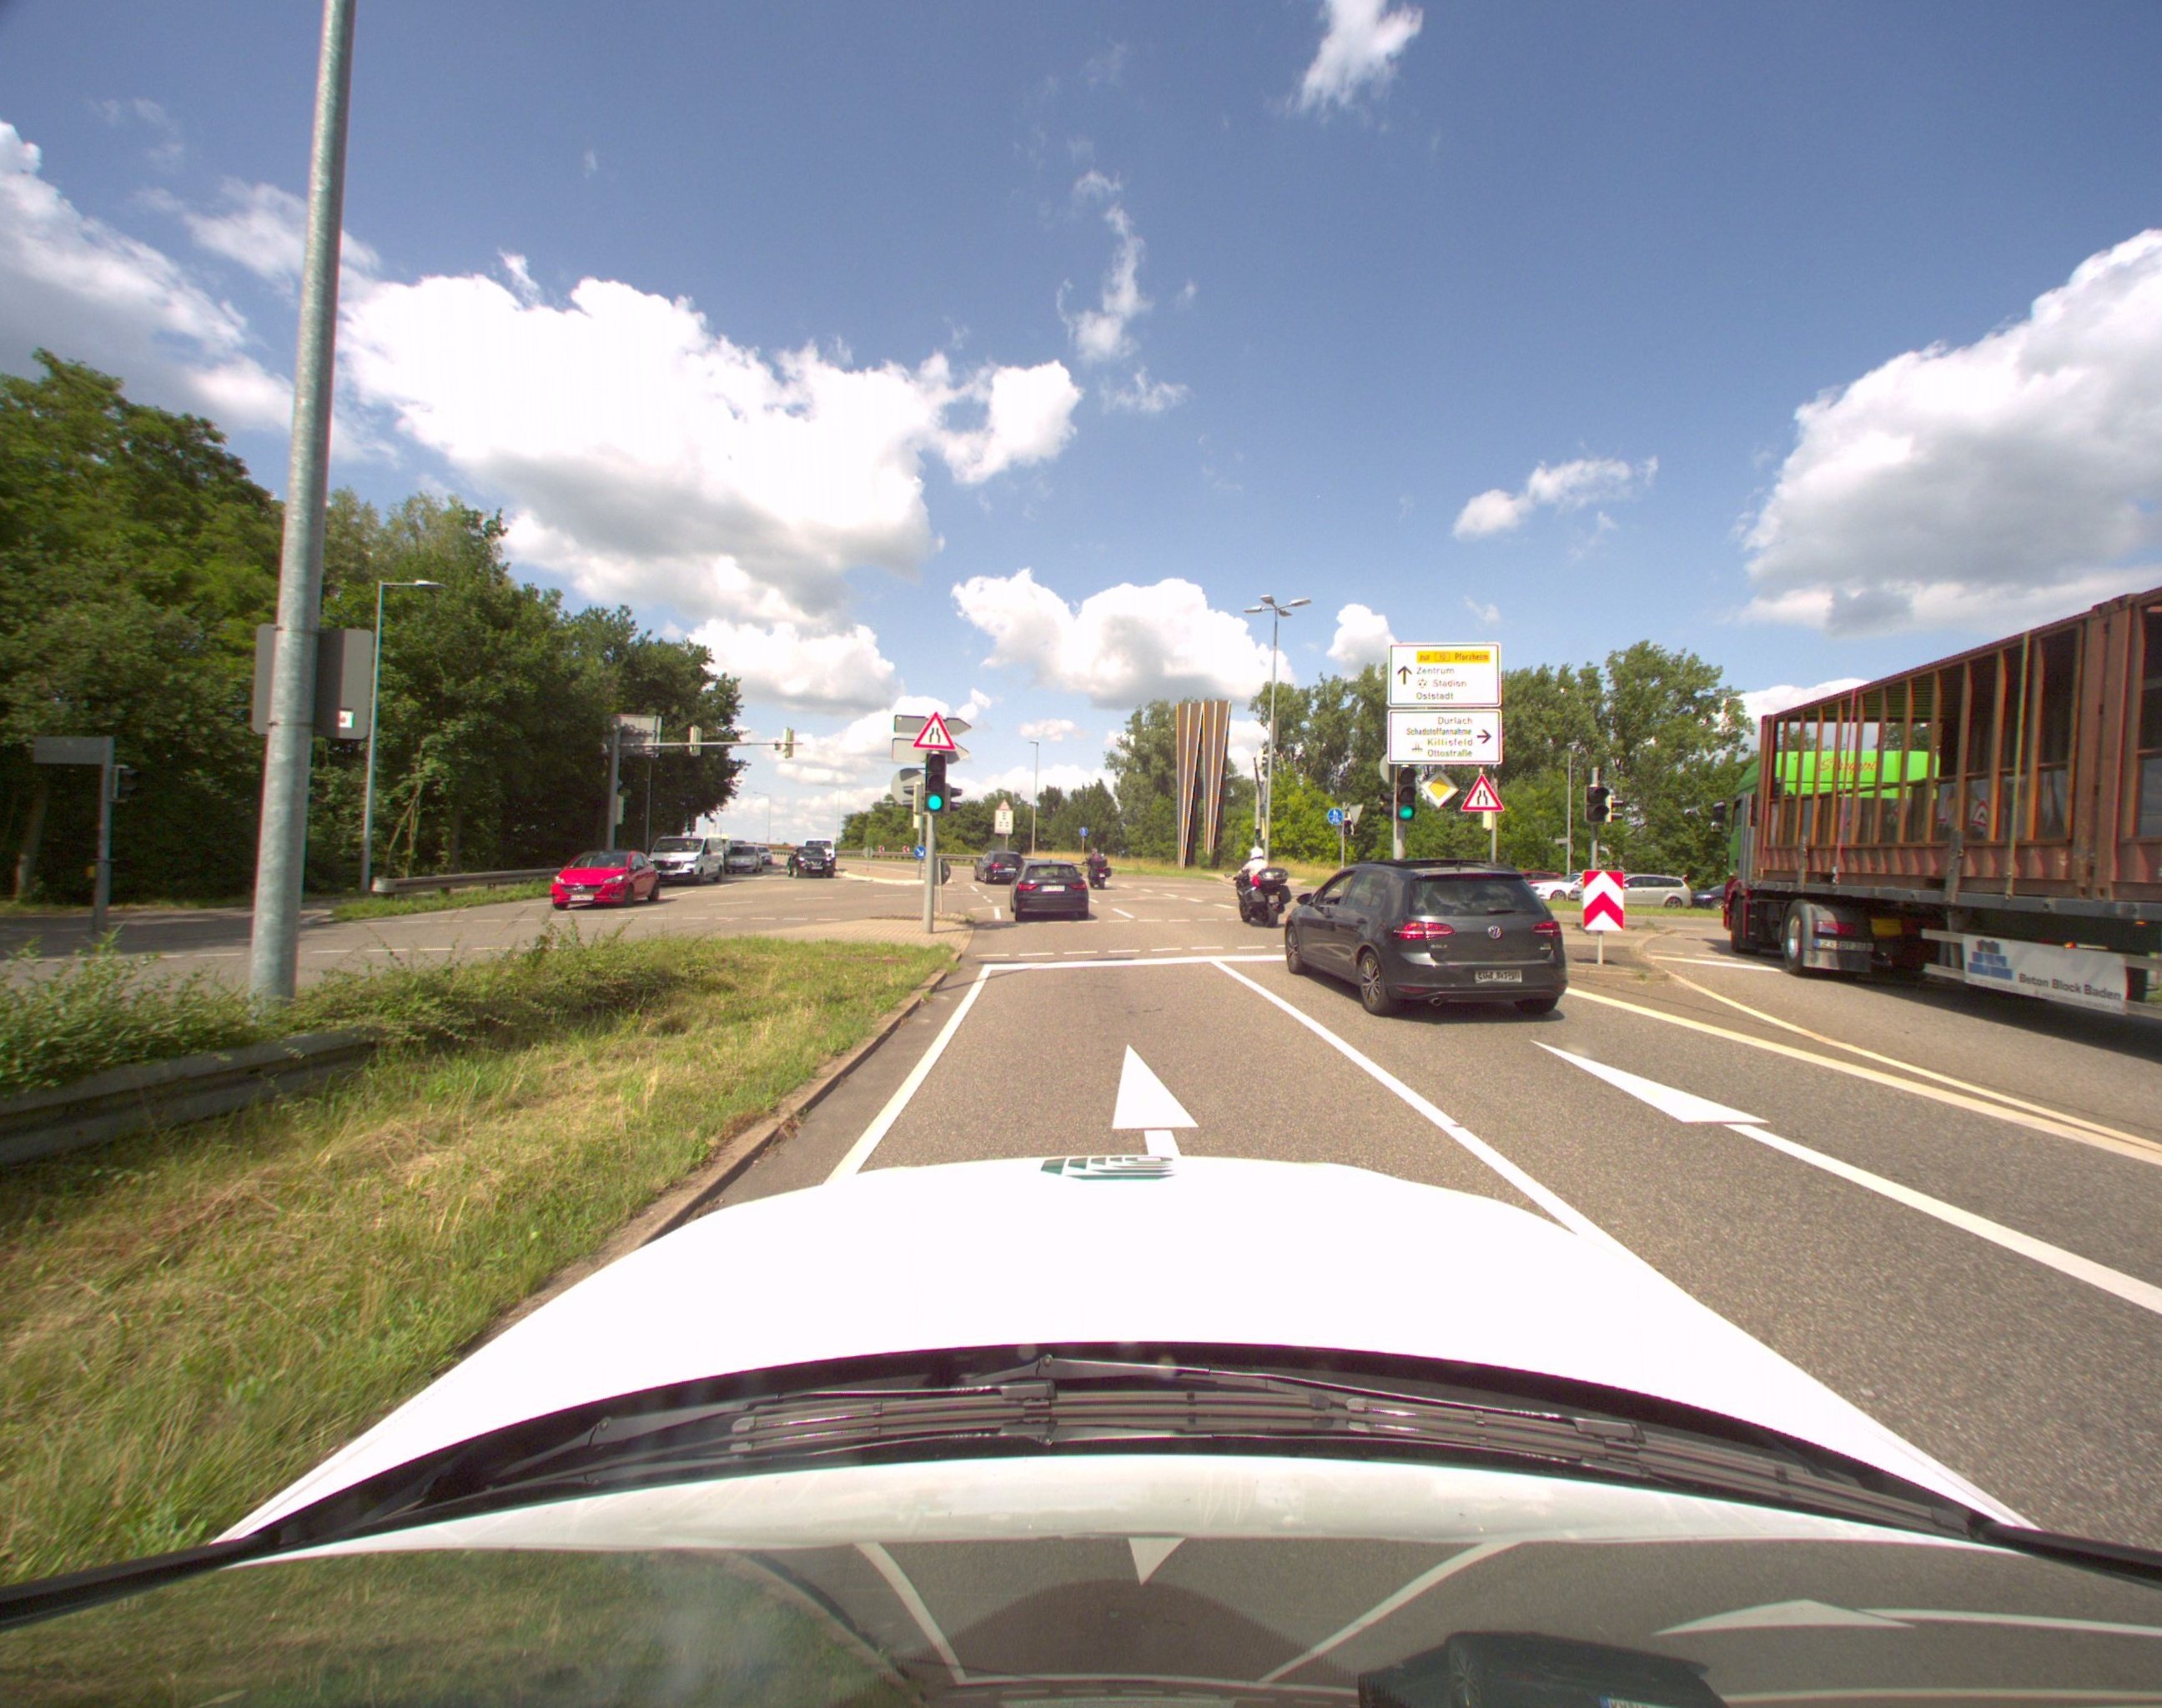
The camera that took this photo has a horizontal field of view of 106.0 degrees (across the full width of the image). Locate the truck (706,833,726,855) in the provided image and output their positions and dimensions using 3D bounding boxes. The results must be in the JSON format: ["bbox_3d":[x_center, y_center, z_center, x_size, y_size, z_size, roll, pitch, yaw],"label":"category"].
[{"bbox_3d":[-44.284,-1.214,98.722,2.003,2.620,6.054,-1,1,-25],"label":"truck"}]

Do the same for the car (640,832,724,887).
[{"bbox_3d":[-15.929,0.214,32.775,1.997,2.013,5.110,-1,0,-14],"label":"car"}]

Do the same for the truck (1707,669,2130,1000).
[{"bbox_3d":[12.356,-0.221,12.834,2.842,3.903,5.912,3,0,28],"label":"truck"}]

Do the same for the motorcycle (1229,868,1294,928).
[{"bbox_3d":[3.793,0.886,17.358,0.787,1.132,2.398,1,0,-2],"label":"motorcycle"}]

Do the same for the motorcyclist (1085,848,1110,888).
[{"bbox_3d":[0.672,0.582,33.683,0.964,1.596,1.123,1,-1,-3],"label":"motorcyclist"}]

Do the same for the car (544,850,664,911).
[{"bbox_3d":[-12.439,0.630,21.498,1.583,1.432,3.982,0,0,-13],"label":"car"}]

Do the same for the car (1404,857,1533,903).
[{"bbox_3d":[15.354,1.030,32.414,4.266,1.617,1.845,2,-1,0],"label":"car"}]

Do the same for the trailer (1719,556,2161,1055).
[{"bbox_3d":[9.771,-0.330,6.356,2.618,3.891,13.908,3,0,17],"label":"trailer"}]

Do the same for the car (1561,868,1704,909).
[{"bbox_3d":[21.762,1.353,32.262,4.512,1.375,1.646,2,0,0],"label":"car"}]

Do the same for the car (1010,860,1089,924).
[{"bbox_3d":[-0.861,0.864,20.132,1.680,1.388,3.730,0,0,-7],"label":"car"}]

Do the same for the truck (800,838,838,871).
[{"bbox_3d":[-16.025,0.022,49.631,1.967,1.913,5.334,1,0,-20],"label":"truck"}]

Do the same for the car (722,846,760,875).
[{"bbox_3d":[-19.142,0.334,45.952,1.738,1.521,4.041,-1,1,-20],"label":"car"}]

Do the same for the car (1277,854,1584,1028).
[{"bbox_3d":[3.469,0.755,8.915,1.638,1.479,3.870,0,0,-1],"label":"car"}]

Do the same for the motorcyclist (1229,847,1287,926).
[{"bbox_3d":[3.798,0.682,17.570,0.963,1.620,1.124,1,-1,-1],"label":"motorcyclist"}]

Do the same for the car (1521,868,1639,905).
[{"bbox_3d":[22.067,1.426,36.131,4.188,1.375,1.646,2,0,0],"label":"car"}]

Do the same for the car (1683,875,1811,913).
[{"bbox_3d":[29.107,1.732,35.681,4.188,1.375,1.701,2,0,0],"label":"car"}]

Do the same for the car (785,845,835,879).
[{"bbox_3d":[-13.314,0.338,39.847,1.708,1.557,3.787,0,1,-28],"label":"car"}]

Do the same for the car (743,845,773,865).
[{"bbox_3d":[-25.328,0.042,63.815,1.692,1.478,4.670,-1,1,-28],"label":"car"}]

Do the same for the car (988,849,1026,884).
[{"bbox_3d":[-3.367,0.557,36.888,1.640,1.479,3.864,1,0,-6],"label":"car"}]

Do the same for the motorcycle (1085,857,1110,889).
[{"bbox_3d":[0.664,0.762,33.697,0.885,1.247,2.396,1,0,-3],"label":"motorcycle"}]
